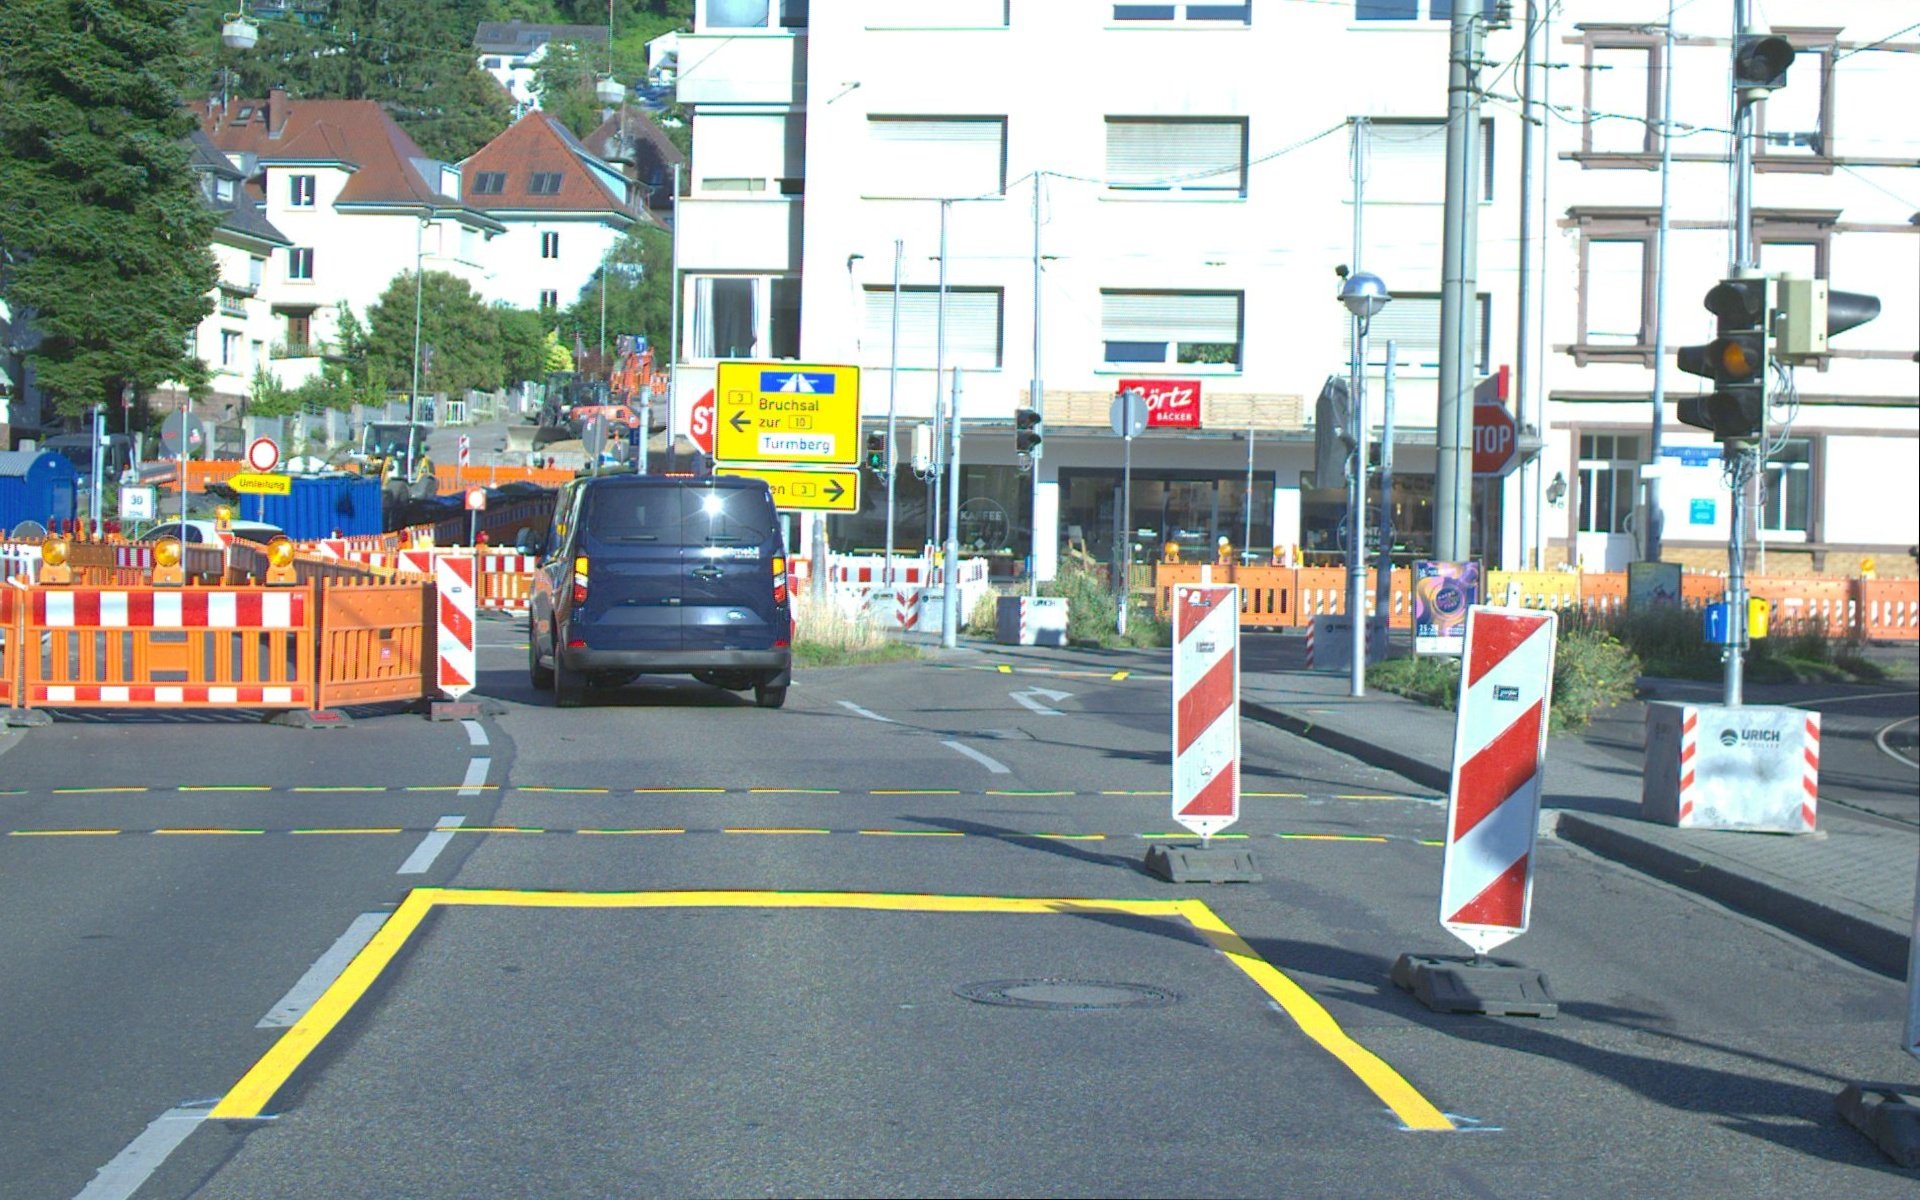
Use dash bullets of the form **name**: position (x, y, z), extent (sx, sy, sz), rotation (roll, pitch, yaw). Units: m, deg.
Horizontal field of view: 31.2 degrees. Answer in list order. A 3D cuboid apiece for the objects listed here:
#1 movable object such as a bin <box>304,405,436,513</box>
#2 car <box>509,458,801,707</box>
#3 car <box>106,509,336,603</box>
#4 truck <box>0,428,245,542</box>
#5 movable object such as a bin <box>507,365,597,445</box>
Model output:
- **movable object such as a bin**: position (-15.342, -3.645, 89.610), extent (2.191, 2.681, 3.999), rotation (2, 1, 8)
- **car**: position (-2.819, -0.197, 30.671), extent (2.061, 2.007, 5.002), rotation (1, 1, -11)
- **car**: position (-11.694, -0.713, 54.258), extent (1.795, 1.405, 3.998), rotation (0, 1, -42)
- **truck**: position (-19.242, -2.566, 78.950), extent (2.357, 2.407, 9.148), rotation (2, 1, 9)
- **movable object such as a bin**: position (-14.717, -7.023, 124.159), extent (2.191, 2.681, 3.999), rotation (2, 1, 8)
